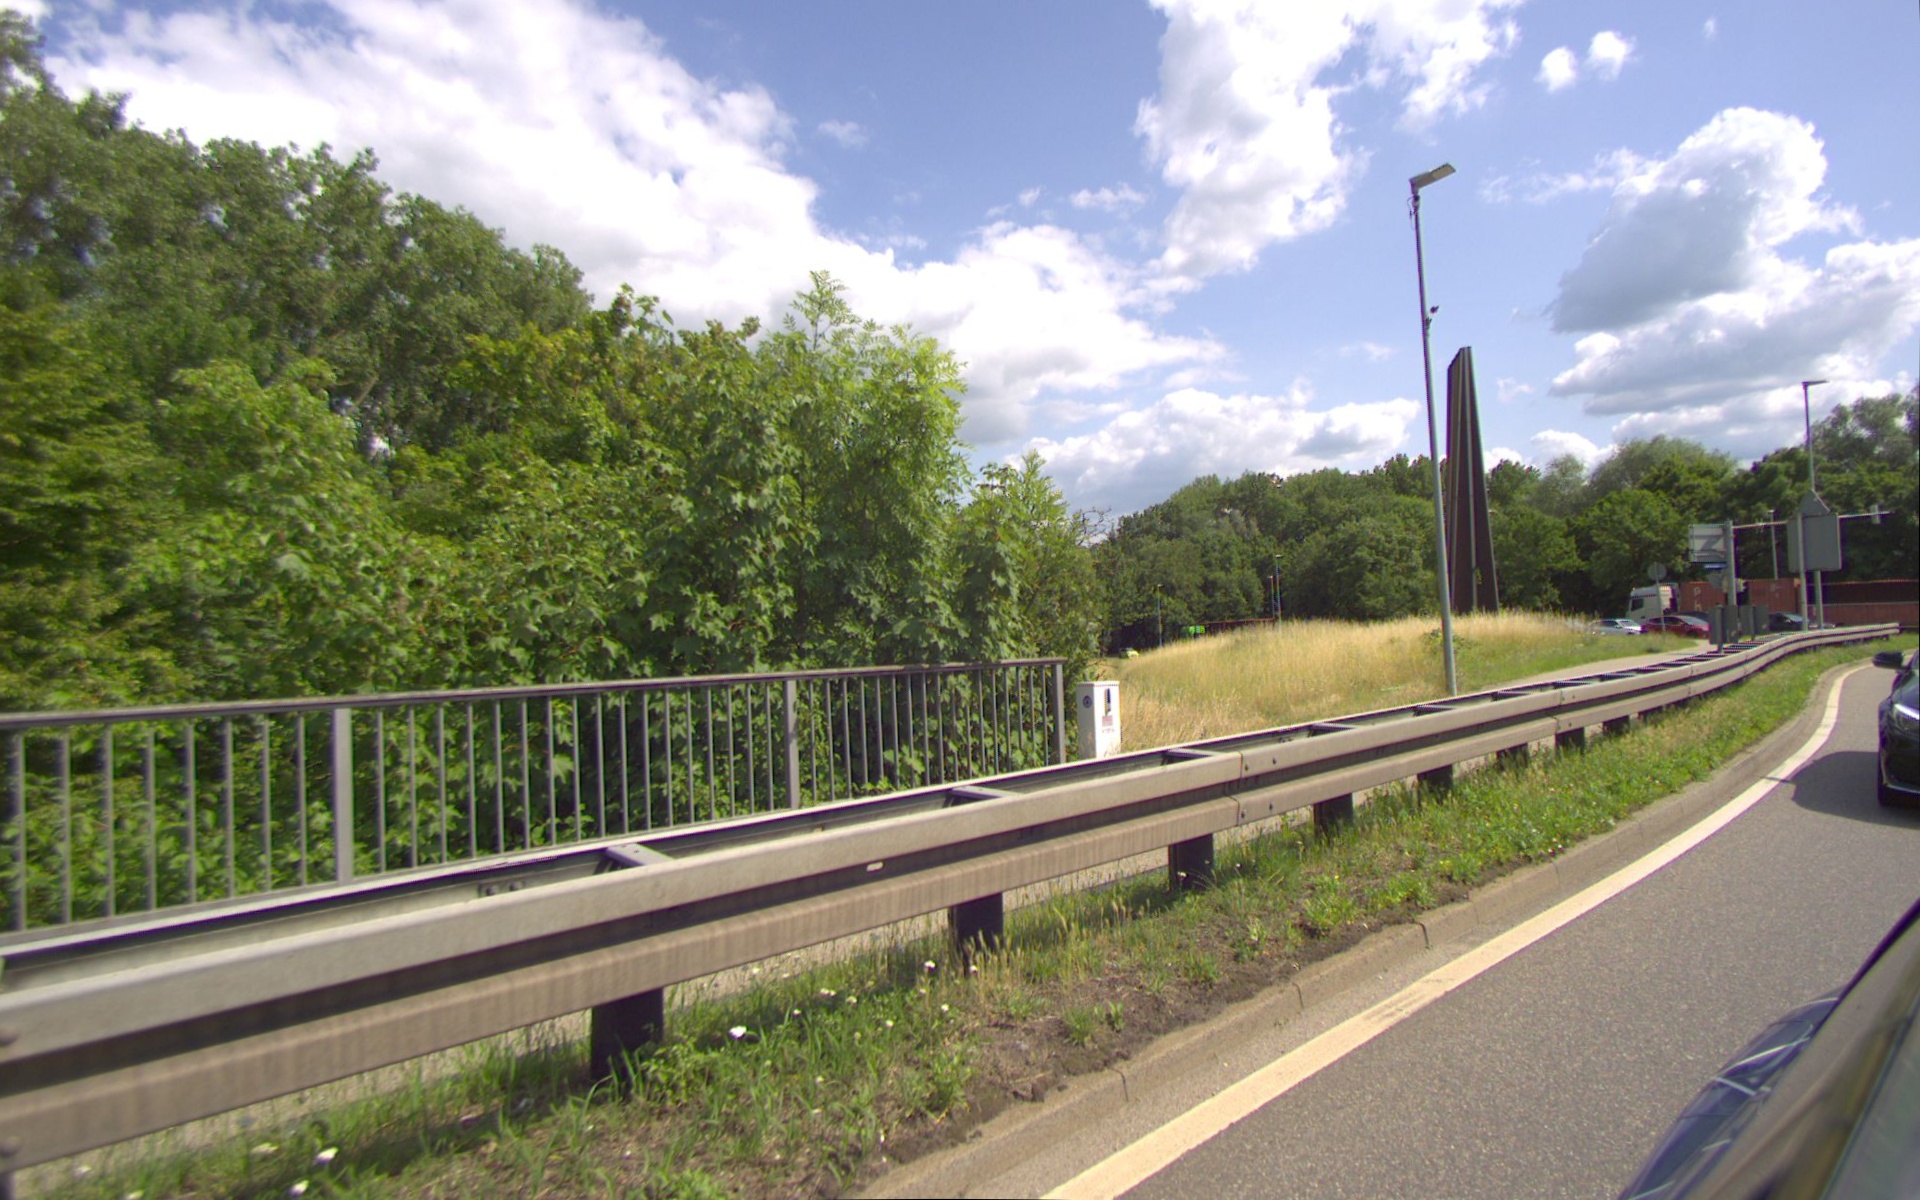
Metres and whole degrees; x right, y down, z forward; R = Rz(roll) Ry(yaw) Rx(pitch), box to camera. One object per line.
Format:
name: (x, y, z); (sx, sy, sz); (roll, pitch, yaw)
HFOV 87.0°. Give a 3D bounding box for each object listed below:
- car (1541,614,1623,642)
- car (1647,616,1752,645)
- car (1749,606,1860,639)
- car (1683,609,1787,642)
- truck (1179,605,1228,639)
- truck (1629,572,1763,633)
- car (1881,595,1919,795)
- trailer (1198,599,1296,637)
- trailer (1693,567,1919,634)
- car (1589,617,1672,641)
car: (36.437, 1.679, 59.401); (1.829, 1.483, 4.005); (-1, -2, -10)
car: (37.237, 1.527, 51.092); (1.723, 1.393, 4.221); (0, -2, -9)
car: (44.868, 1.202, 53.910); (1.807, 1.638, 4.300); (-1, -2, -9)
car: (40.629, 1.351, 53.185); (1.800, 1.667, 4.221); (0, -2, -9)
truck: (29.592, 2.717, 123.053); (2.817, 3.955, 5.885); (0, -3, -22)
truck: (49.732, 0.253, 68.525); (2.729, 3.895, 6.808); (1, -3, -40)
car: (8.954, 0.675, 8.467); (1.790, 1.454, 4.302); (-2, -1, 43)
trailer: (32.577, 2.162, 115.736); (2.592, 3.942, 13.866); (0, -3, -23)
trailer: (53.920, 0.151, 63.628); (2.733, 3.900, 12.294); (1, -2, -42)
car: (39.794, 1.721, 60.173); (1.612, 1.393, 4.221); (0, -2, -9)
